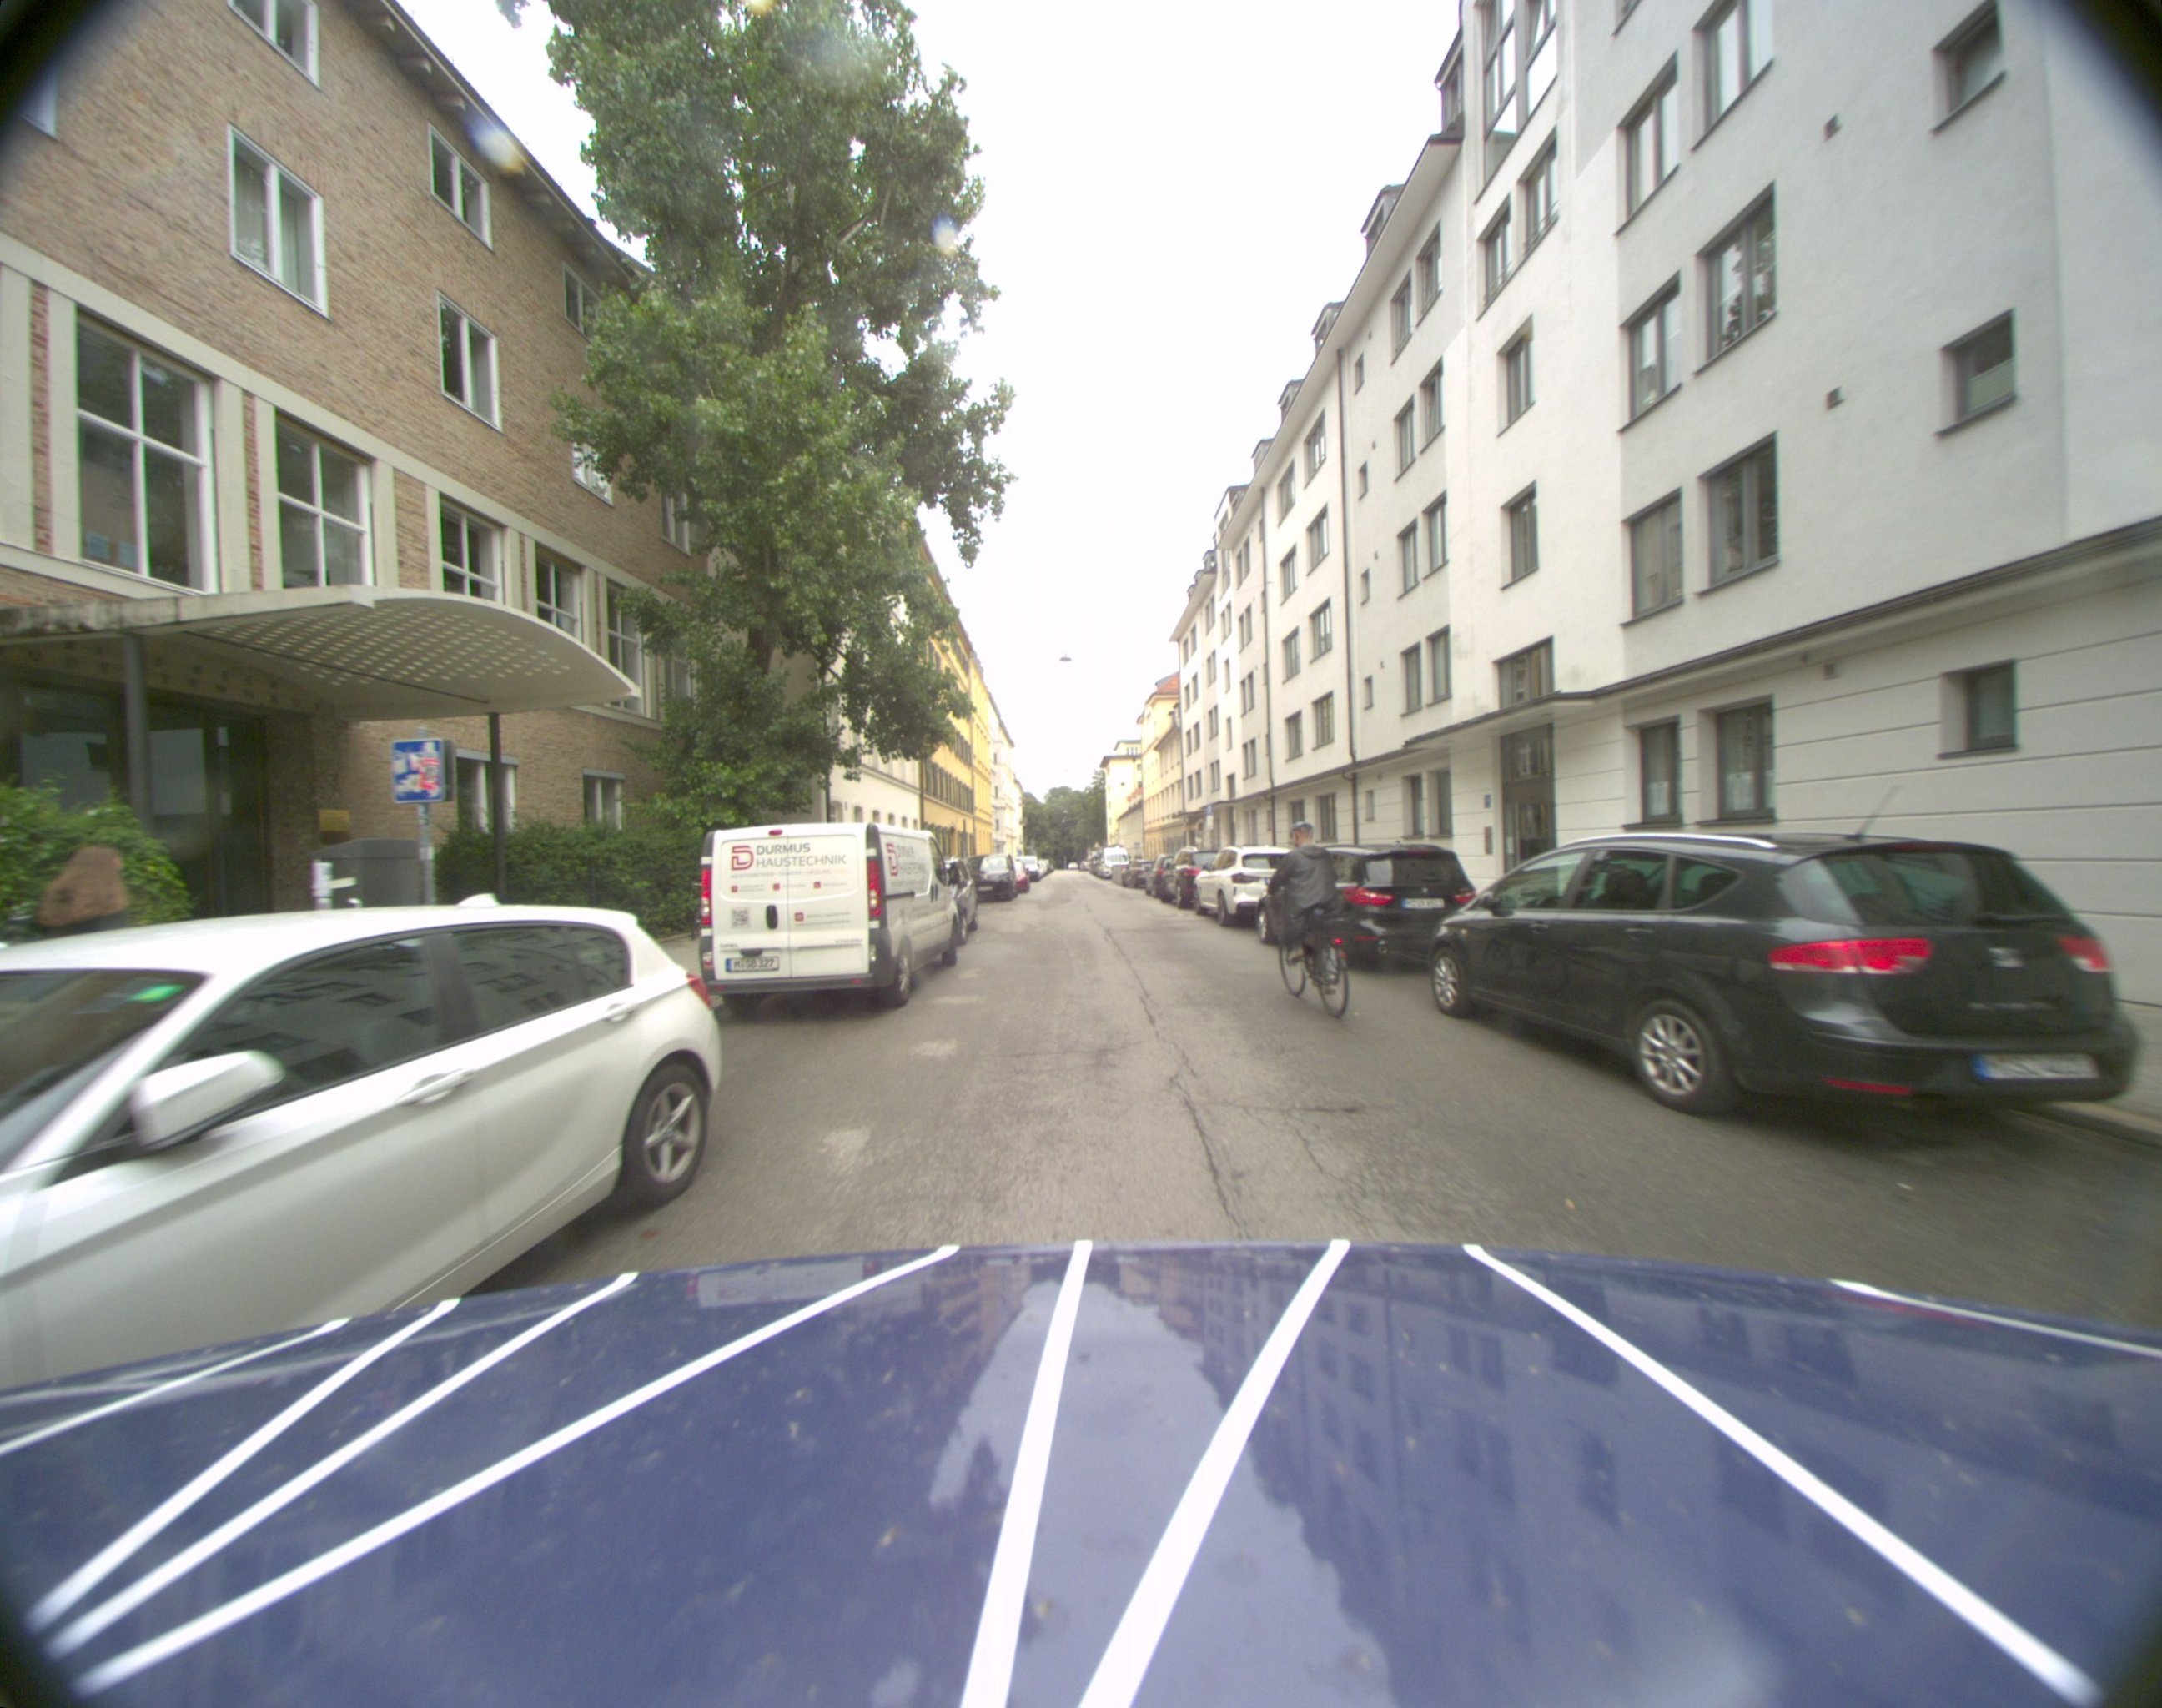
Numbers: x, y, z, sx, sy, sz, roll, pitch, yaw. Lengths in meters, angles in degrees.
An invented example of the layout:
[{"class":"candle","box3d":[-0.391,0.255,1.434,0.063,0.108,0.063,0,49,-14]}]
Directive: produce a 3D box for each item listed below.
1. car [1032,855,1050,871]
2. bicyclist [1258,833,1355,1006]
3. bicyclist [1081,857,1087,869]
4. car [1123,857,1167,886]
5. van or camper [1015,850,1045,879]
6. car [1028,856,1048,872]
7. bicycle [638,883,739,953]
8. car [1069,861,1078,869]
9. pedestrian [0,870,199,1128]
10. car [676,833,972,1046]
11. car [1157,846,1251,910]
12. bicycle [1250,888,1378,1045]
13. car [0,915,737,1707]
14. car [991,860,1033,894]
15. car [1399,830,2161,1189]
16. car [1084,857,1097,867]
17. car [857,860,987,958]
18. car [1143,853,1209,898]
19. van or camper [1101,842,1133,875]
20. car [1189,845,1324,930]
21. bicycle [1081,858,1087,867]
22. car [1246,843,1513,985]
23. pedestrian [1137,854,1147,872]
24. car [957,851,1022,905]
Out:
[{"class":"car","box3d":[-4.074,0.919,78.318,1.721,1.501,3.936,-2,0,-2]},{"class":"bicyclist","box3d":[2.132,0.589,7.270,0.659,1.542,0.887,-1,1,2]},{"class":"bicyclist","box3d":[0.381,1.205,103.553,0.688,1.618,0.853,-2,0,-2]},{"class":"car","box3d":[3.110,0.859,37.791,1.643,1.346,4.058,0,0,-3]},{"class":"van or camper","box3d":[-3.769,0.785,56.439,1.999,2.002,5.232,-2,0,-2]},{"class":"car","box3d":[-4.046,0.949,72.672,1.721,1.501,4.468,-2,0,-1]},{"class":"bicycle","box3d":[-7.034,1.112,13.765,0.672,1.067,2.223,-1,0,-1]},{"class":"car","box3d":[-1.507,2.165,151.567,1.793,1.409,3.904,-1,0,-2]},{"class":"pedestrian","box3d":[-6.998,0.942,5.291,0.589,1.623,0.877,-2,0,4]},{"class":"car","box3d":[-2.732,0.789,9.476,1.887,1.913,4.874,-2,0,1]},{"class":"car","box3d":[3.453,0.643,22.198,1.877,1.678,4.520,0,0,-2]},{"class":"bicycle","box3d":[2.156,0.981,7.286,0.650,1.190,1.950,-1,1,1]},{"class":"car","box3d":[-2.809,1.074,1.994,1.677,1.409,4.202,-3,0,3]},{"class":"car","box3d":[-3.243,1.029,36.199,1.718,1.415,4.456,-2,0,-2]},{"class":"car","box3d":[4.162,0.737,5.578,1.877,1.648,4.079,0,0,-1]},{"class":"car","box3d":[1.352,1.159,112.771,1.711,1.490,3.999,-2,0,-2]},{"class":"car","box3d":[-3.008,0.963,15.248,1.812,1.591,4.214,-2,0,-2]},{"class":"car","box3d":[3.427,0.746,28.113,1.778,1.530,4.158,0,0,-2]},{"class":"van or camper","box3d":[2.635,0.319,56.451,1.999,2.298,5.477,0,0,-1]},{"class":"car","box3d":[3.769,0.677,17.202,1.877,1.648,4.590,0,0,-2]},{"class":"bicycle","box3d":[0.383,1.145,103.677,0.734,1.144,1.999,-2,0,-2]},{"class":"car","box3d":[4.010,0.717,11.202,1.877,1.648,4.589,0,0,-4]},{"class":"pedestrian","box3d":[5.782,0.831,71.809,0.807,1.701,1.021,-2,0,0]},{"class":"car","box3d":[-3.357,0.822,28.590,1.851,1.766,4.200,-4,1,0]}]
